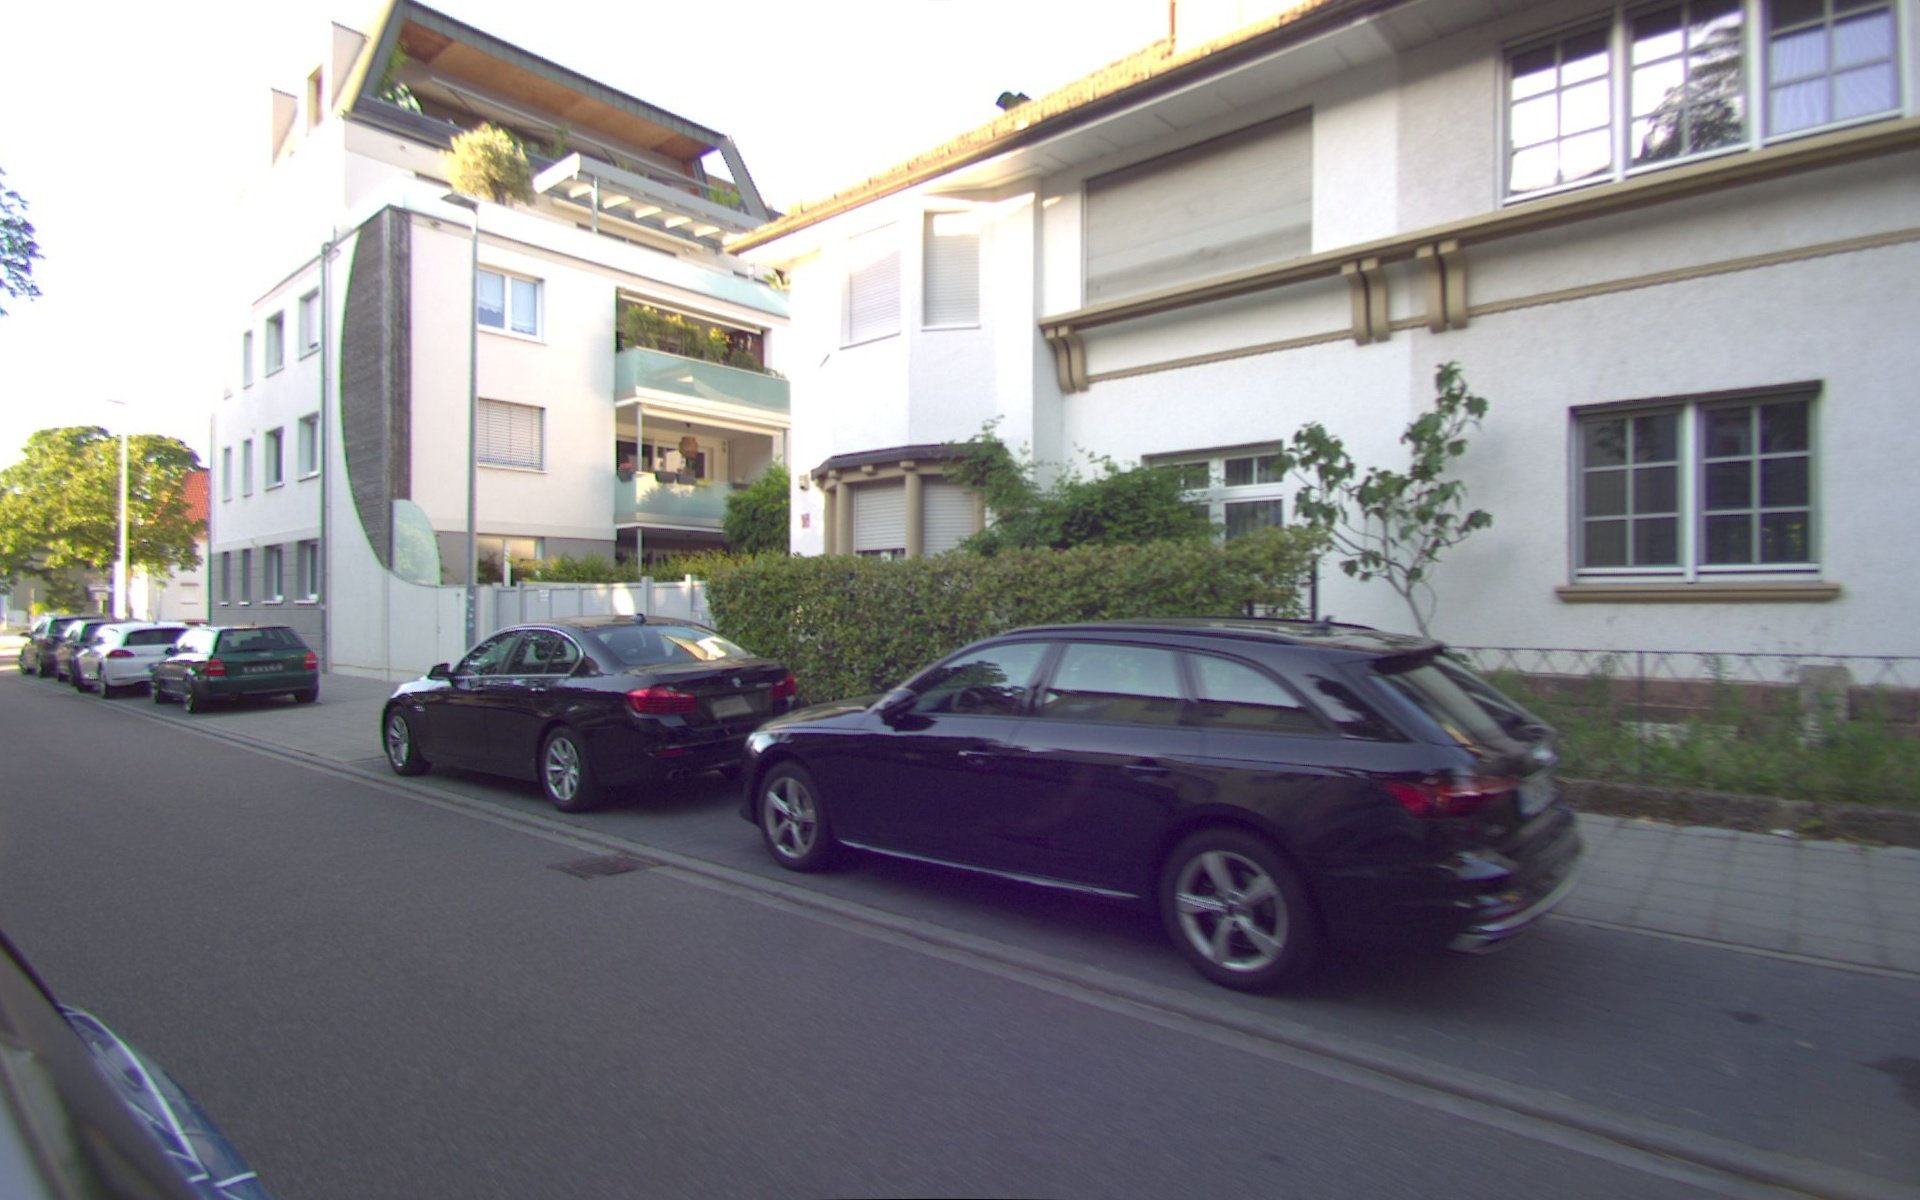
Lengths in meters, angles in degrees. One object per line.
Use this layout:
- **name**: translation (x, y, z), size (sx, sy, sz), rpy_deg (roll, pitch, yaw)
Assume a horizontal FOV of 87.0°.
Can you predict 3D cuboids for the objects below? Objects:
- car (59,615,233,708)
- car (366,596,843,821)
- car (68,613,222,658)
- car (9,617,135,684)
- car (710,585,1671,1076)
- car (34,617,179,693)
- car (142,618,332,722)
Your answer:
- **car**: translation (-16.124, 1.123, 19.991), size (4.086, 1.603, 1.866), rpy_deg (-1, 0, 39)
- **car**: translation (-3.347, 0.738, 9.034), size (4.649, 1.509, 1.836), rpy_deg (0, 0, 39)
- **car**: translation (-33.815, 1.437, 42.096), size (1.788, 1.681, 4.772), rpy_deg (0, 0, 41)
- **car**: translation (-23.718, 1.286, 26.985), size (4.086, 1.603, 1.866), rpy_deg (-1, 0, 39)
- **car**: translation (0.789, 0.707, 5.346), size (4.698, 1.509, 1.764), rpy_deg (0, 0, 42)
- **car**: translation (-20.083, 1.214, 23.766), size (4.086, 1.603, 1.866), rpy_deg (-1, 0, 39)
- **car**: translation (-12.273, 1.075, 17.075), size (4.141, 1.458, 1.739), rpy_deg (0, 0, 42)
